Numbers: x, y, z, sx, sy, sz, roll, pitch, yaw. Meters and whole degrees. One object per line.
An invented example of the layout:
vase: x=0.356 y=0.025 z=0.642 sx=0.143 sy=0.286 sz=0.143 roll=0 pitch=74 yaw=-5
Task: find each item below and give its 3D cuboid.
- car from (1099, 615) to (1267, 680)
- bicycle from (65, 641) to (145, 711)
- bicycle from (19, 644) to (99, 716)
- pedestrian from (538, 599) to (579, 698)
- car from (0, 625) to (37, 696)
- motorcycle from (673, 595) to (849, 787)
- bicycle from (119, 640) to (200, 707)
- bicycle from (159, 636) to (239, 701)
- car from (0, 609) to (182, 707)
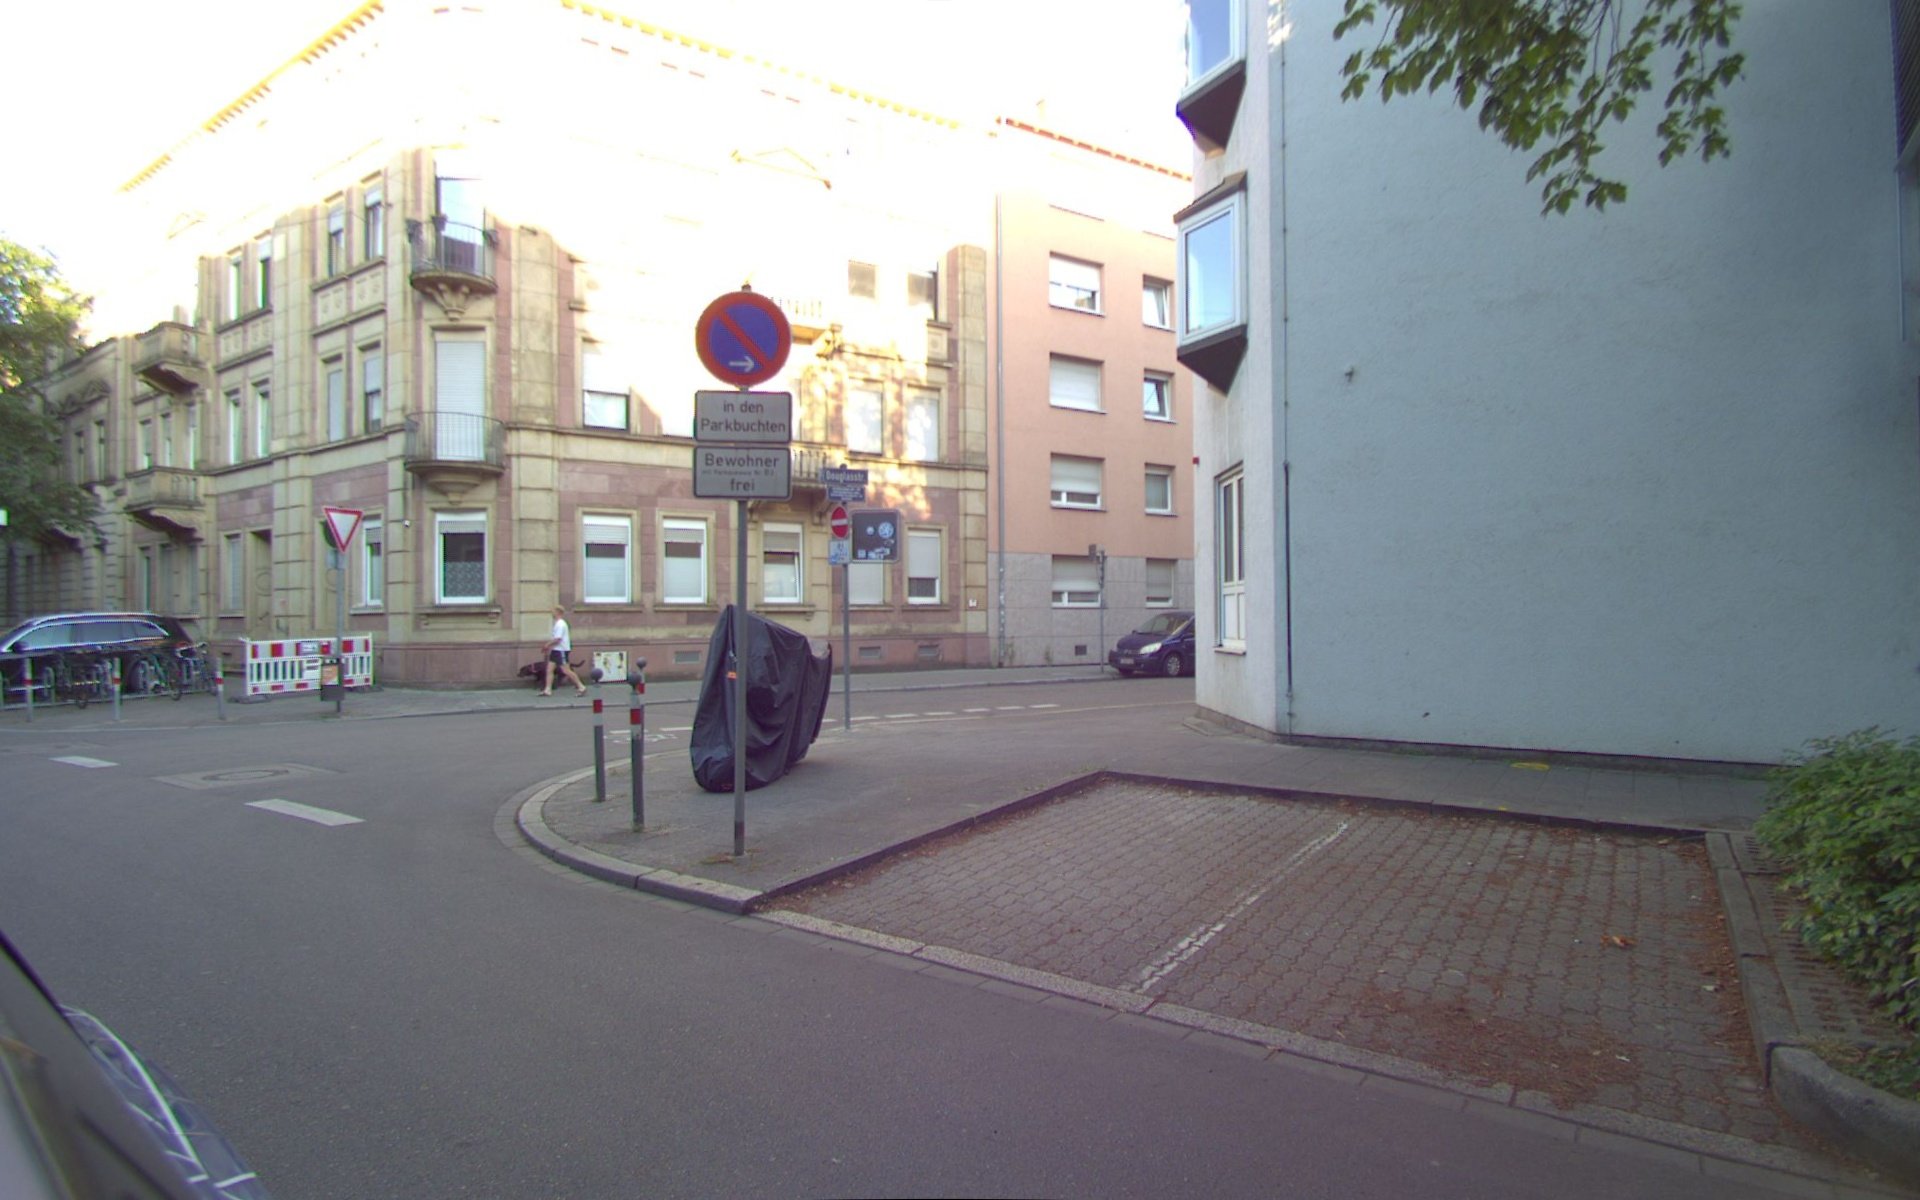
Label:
car: x=5.741 y=1.163 z=25.855 sx=4.297 sy=1.529 sz=1.789 roll=1 pitch=-2 yaw=-36
bicycle: x=-15.267 y=1.330 z=18.055 sx=2.034 sy=1.159 sz=0.555 roll=-1 pitch=-1 yaw=34
bicycle: x=-15.620 y=1.354 z=17.526 sx=2.034 sy=1.159 sz=0.555 roll=-1 pitch=-1 yaw=34
pedestrian: x=-7.557 y=0.889 z=19.043 sx=0.640 sy=1.821 sz=0.575 roll=0 pitch=-1 yaw=-31
car: x=-24.301 y=1.431 z=23.394 sx=1.740 sy=1.690 sz=4.190 roll=-1 pitch=-2 yaw=39
motorcycle: x=-1.722 y=0.743 z=9.205 sx=0.809 sy=1.516 sz=2.276 roll=-1 pitch=-1 yaw=10
bicycle: x=-14.796 y=1.332 z=18.683 sx=2.033 sy=1.159 sz=0.556 roll=-1 pitch=-1 yaw=33
bicycle: x=-14.442 y=1.271 z=19.187 sx=2.033 sy=1.159 sz=0.556 roll=-1 pitch=-1 yaw=33
car: x=-17.898 y=1.082 z=19.467 sx=1.740 sy=1.795 sz=4.367 roll=-1 pitch=-2 yaw=39
